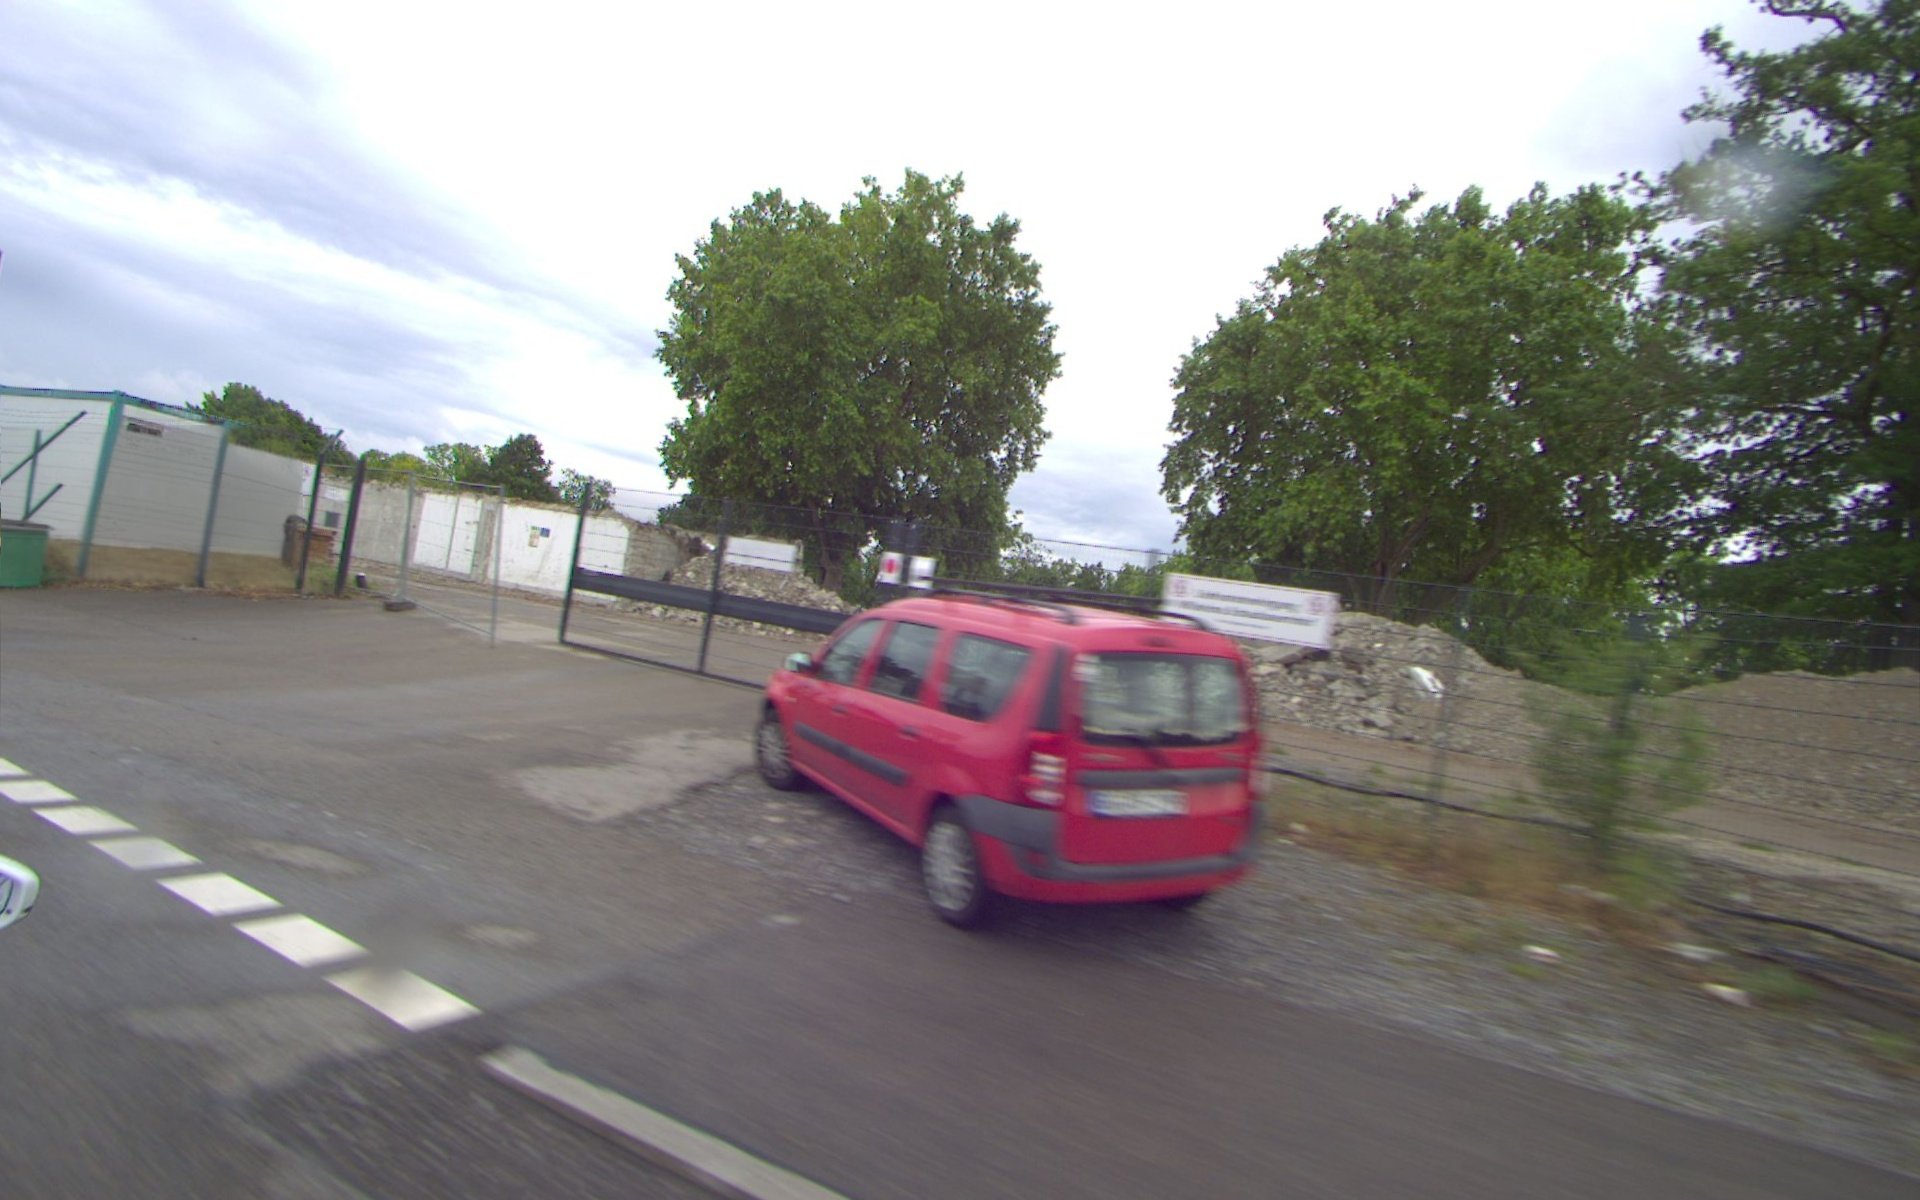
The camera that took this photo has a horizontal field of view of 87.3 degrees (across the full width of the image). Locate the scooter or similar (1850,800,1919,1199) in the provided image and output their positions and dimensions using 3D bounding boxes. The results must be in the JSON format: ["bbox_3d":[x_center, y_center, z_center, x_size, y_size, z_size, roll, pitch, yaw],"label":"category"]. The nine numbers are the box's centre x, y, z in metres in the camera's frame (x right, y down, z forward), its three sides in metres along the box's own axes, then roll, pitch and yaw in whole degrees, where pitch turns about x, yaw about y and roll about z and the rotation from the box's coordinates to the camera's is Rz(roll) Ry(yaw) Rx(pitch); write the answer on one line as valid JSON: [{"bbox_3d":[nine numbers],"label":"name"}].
[{"bbox_3d":[4.197,1.522,3.187,1.882,1.366,0.615,7,-2,36],"label":"scooter or similar"}]

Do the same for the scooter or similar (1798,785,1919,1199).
[{"bbox_3d":[3.568,1.371,2.682,1.882,1.366,0.615,7,-2,36],"label":"scooter or similar"}]

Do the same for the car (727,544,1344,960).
[{"bbox_3d":[0.060,0.724,6.721,1.806,1.814,4.377,9,-3,-29],"label":"car"}]

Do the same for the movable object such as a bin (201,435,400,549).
[{"bbox_3d":[-48.307,-7.738,74.225,3.438,6.063,11.239,6,-3,37],"label":"movable object such as a bin"}]
